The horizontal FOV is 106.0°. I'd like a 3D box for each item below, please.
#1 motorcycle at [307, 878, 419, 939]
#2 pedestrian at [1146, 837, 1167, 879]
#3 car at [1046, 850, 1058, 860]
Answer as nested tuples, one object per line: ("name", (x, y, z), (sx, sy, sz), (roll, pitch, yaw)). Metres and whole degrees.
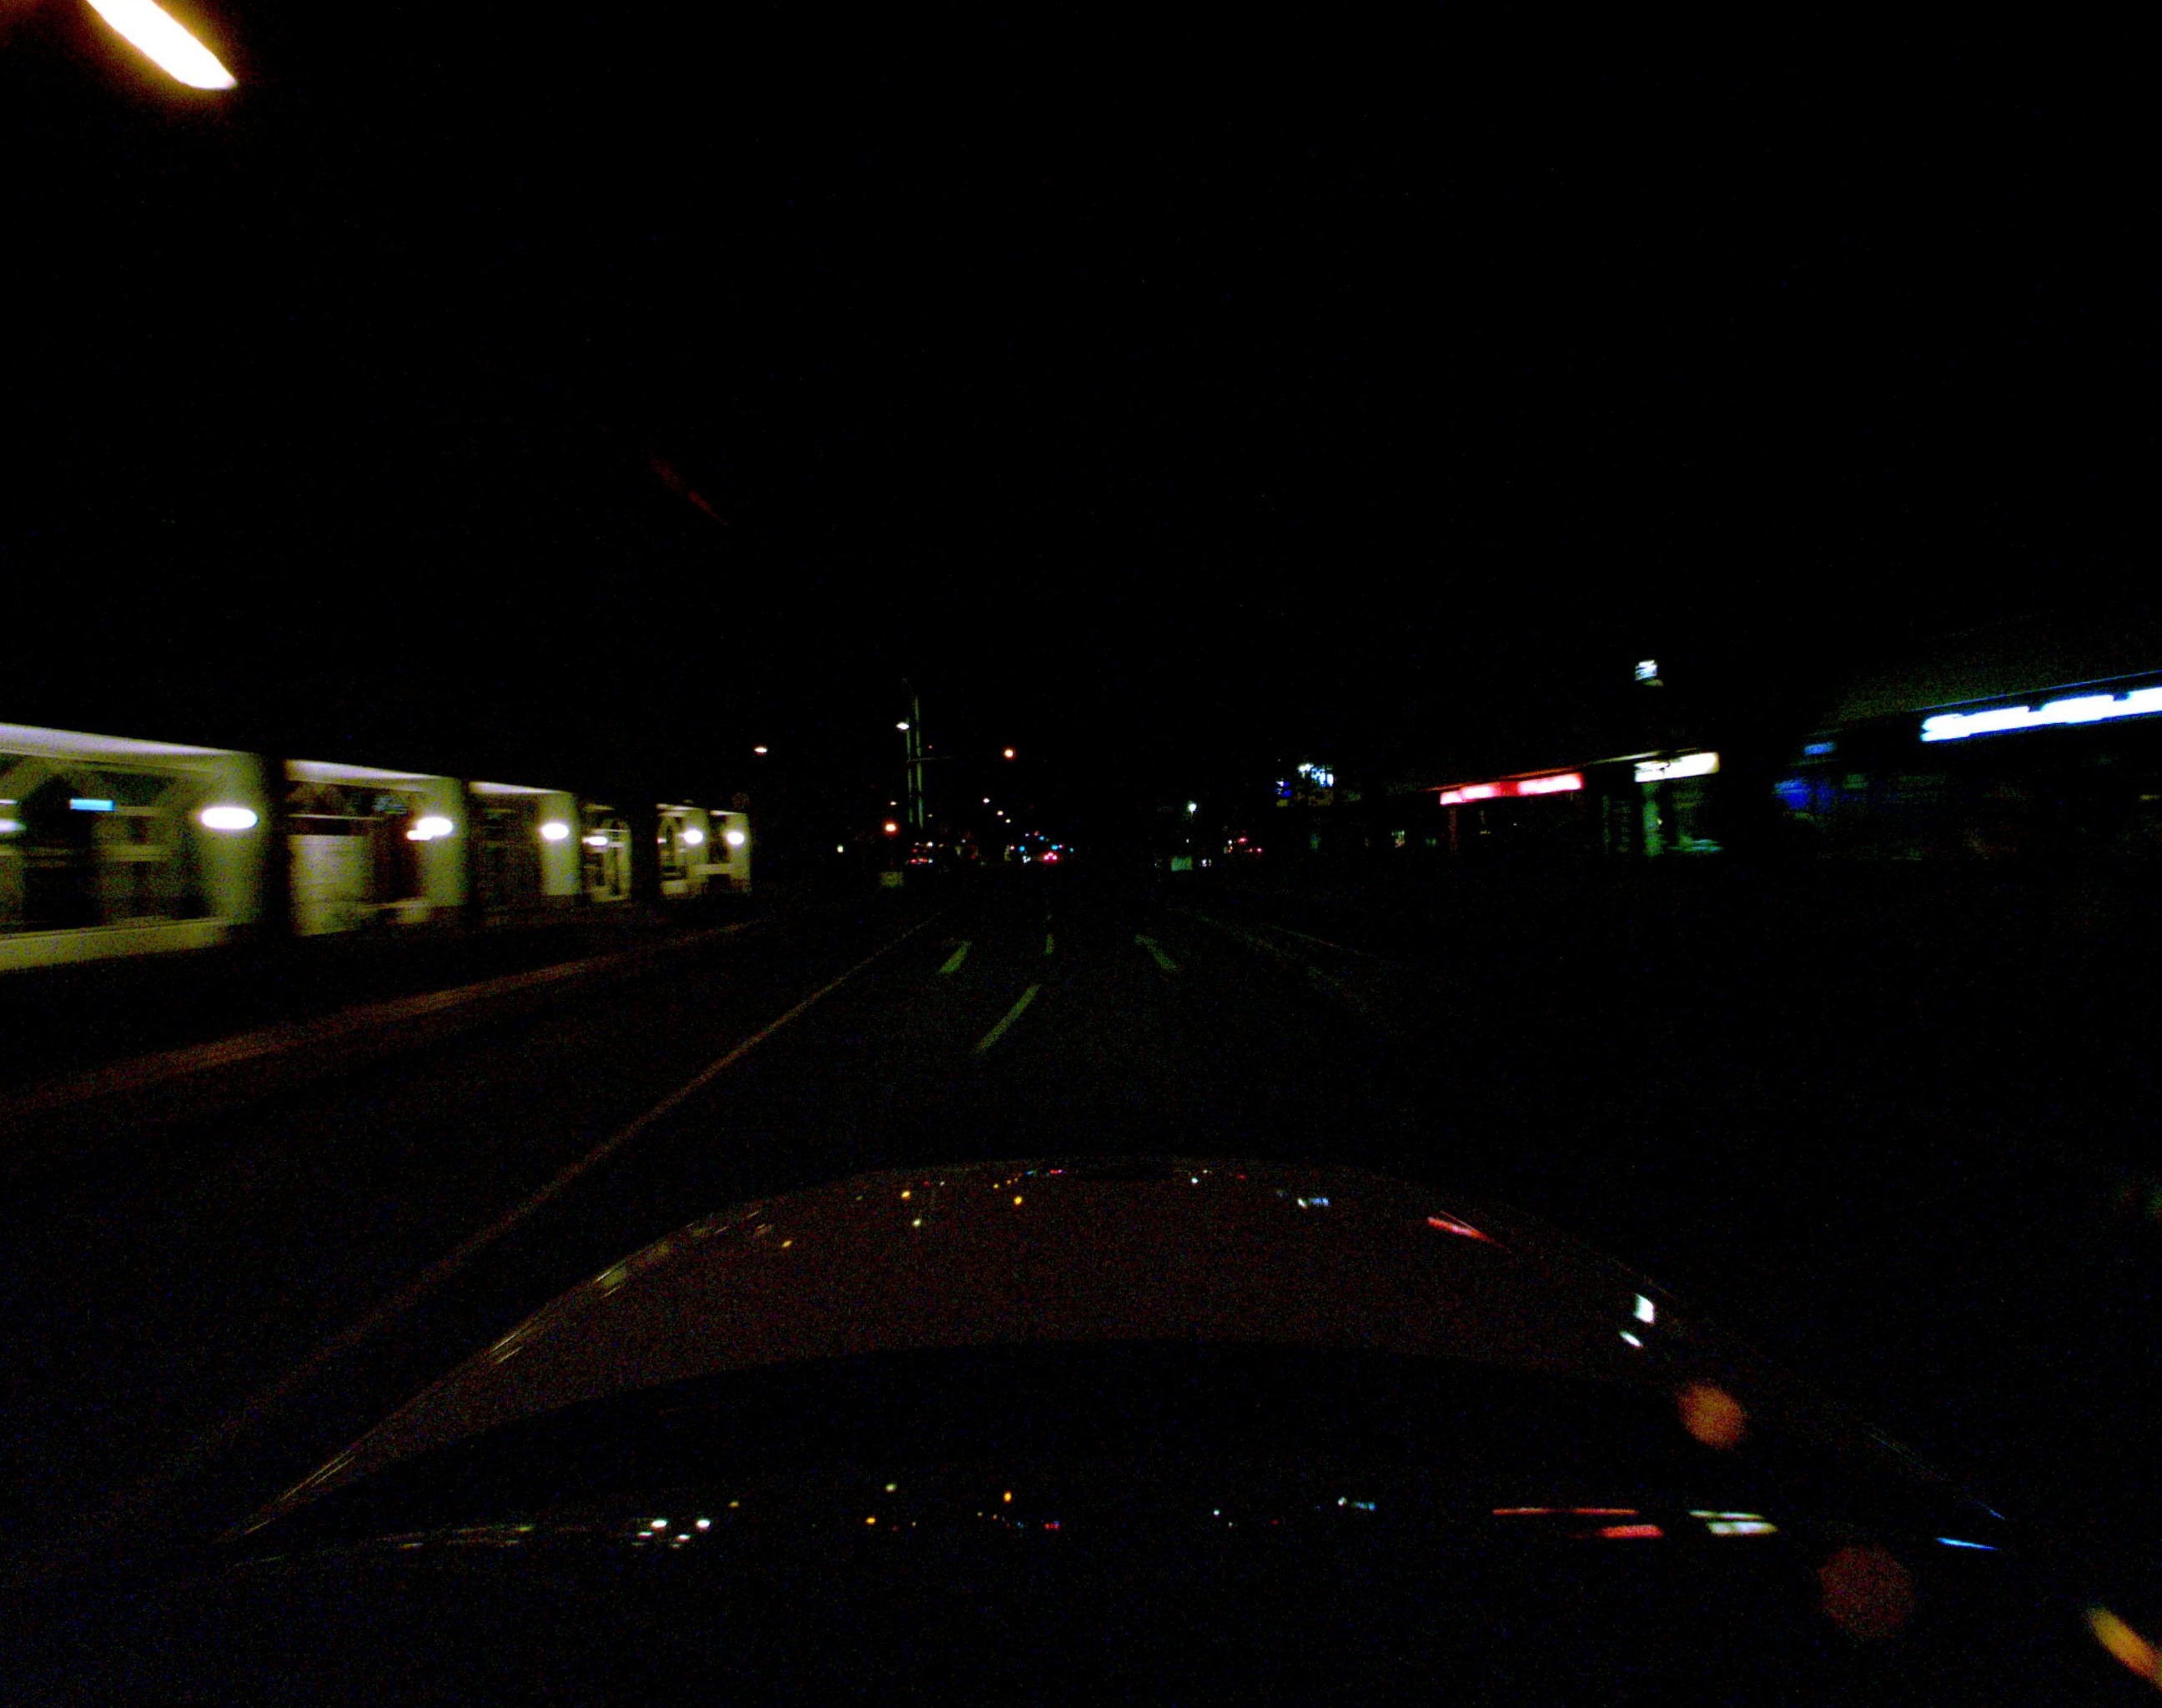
("motorcycle", (-13.803, 1.020, 15.723), (0.475, 1.020, 1.679), (-2, 0, 8))
("pedestrian", (3.357, 0.171, 36.137), (0.701, 1.818, 1.081), (-3, 0, -2))
("car", (-5.190, 0.228, 145.488), (1.989, 1.643, 3.996), (-3, 0, -3))
